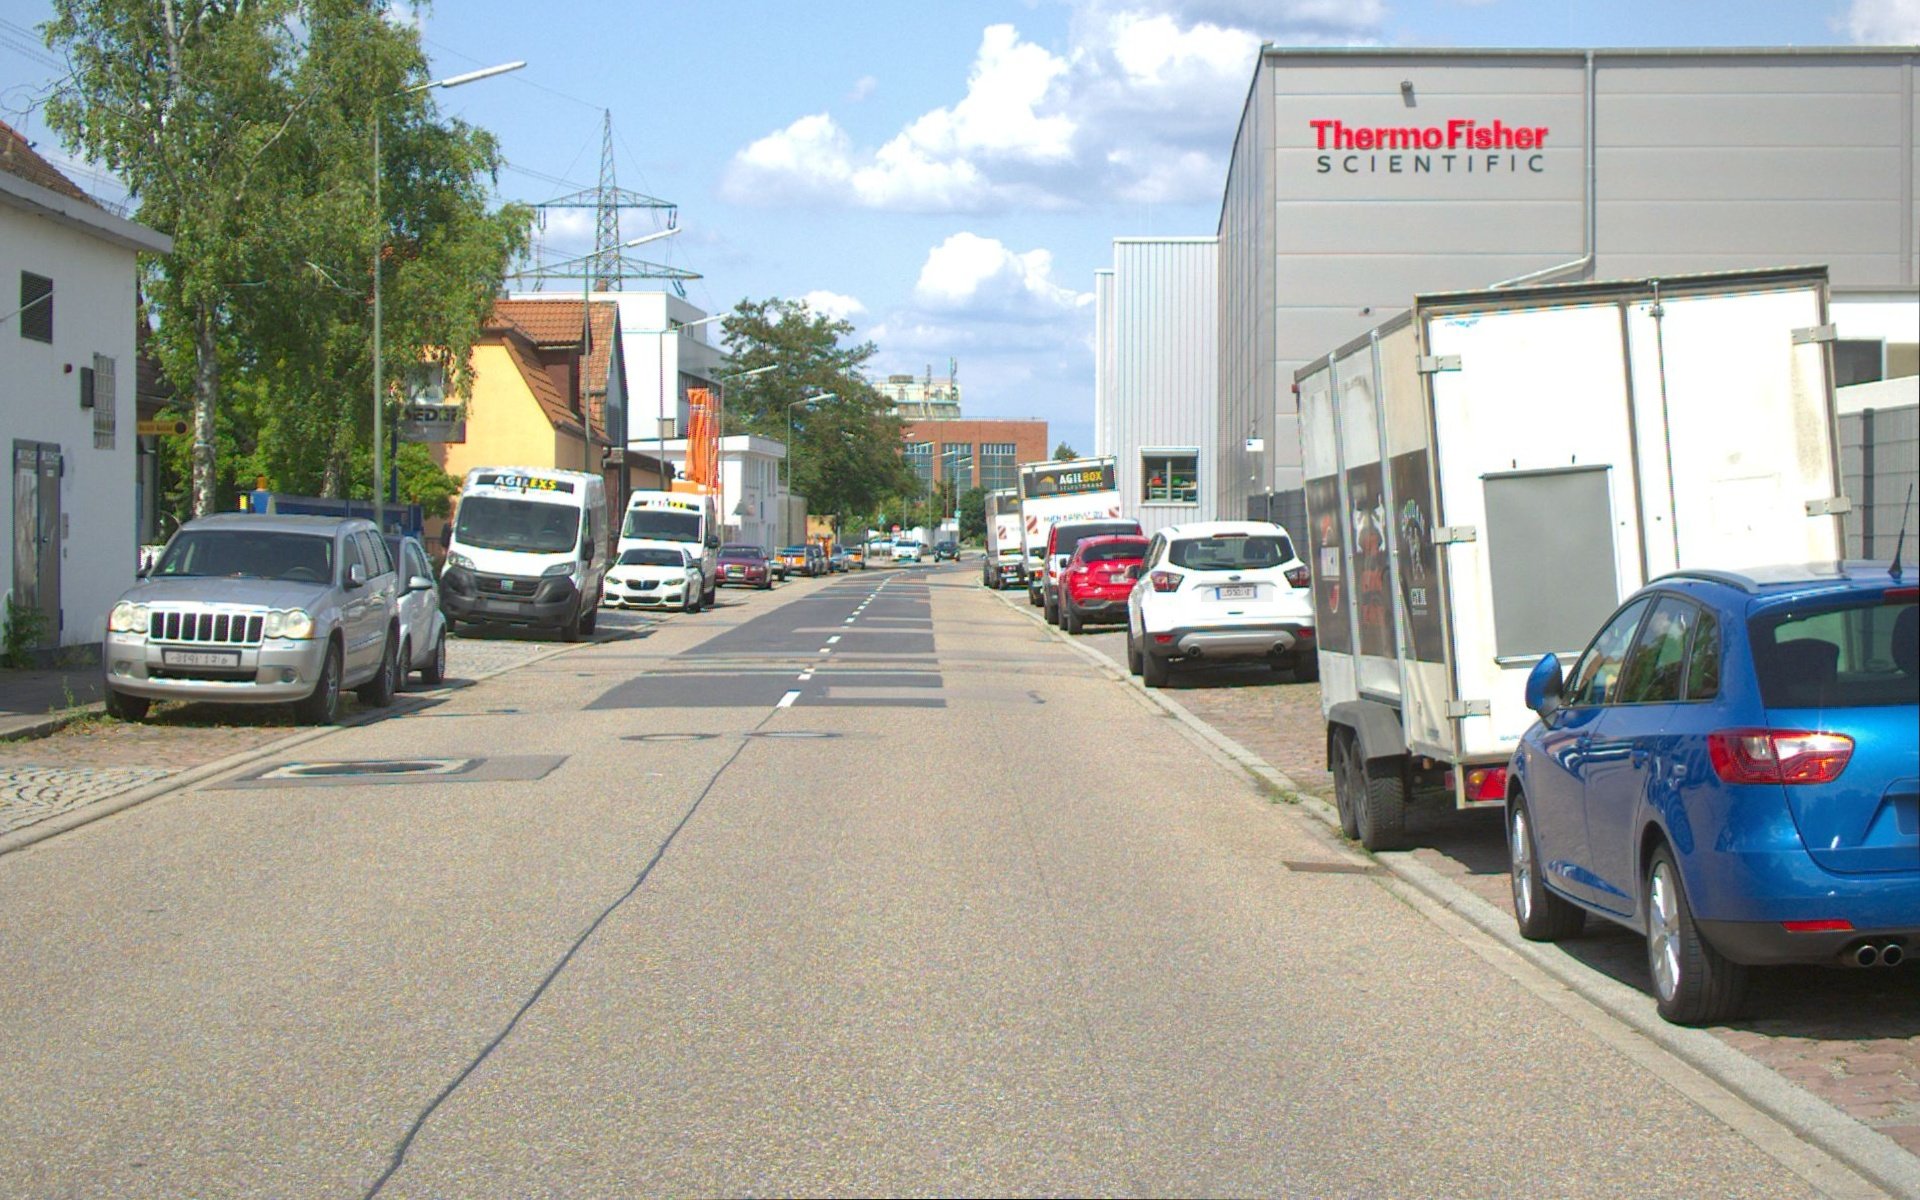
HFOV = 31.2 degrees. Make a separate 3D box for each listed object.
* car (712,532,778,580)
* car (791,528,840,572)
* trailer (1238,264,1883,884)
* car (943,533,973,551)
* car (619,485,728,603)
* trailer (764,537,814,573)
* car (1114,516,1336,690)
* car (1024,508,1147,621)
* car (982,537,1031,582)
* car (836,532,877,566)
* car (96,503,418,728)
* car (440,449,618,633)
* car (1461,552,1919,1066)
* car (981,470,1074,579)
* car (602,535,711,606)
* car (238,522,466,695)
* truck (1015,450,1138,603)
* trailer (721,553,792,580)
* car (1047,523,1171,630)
[{"bbox_3d":[-6.925,-1.424,111.060,1.762,1.442,4.741,2,0,0],"label":"car"},{"bbox_3d":[-6.992,-2.417,166.508,1.994,2.007,4.000,2,0,2],"label":"car"},{"bbox_3d":[2.986,-0.148,18.746,2.204,2.727,6.222,-3,1,-1],"label":"trailer"},{"bbox_3d":[-0.137,-4.022,239.230,1.918,1.280,3.614,0,1,2],"label":"car"},{"bbox_3d":[-6.579,-1.276,79.561,2.026,2.552,6.840,2,0,-1],"label":"car"},{"bbox_3d":[-7.478,-1.989,150.845,1.993,1.551,4.254,1,1,0],"label":"trailer"},{"bbox_3d":[2.793,-0.020,37.179,1.935,1.688,4.680,-2,1,-1],"label":"car"},{"bbox_3d":[2.288,-0.683,63.763,2.054,1.897,5.147,-3,1,1],"label":"car"},{"bbox_3d":[1.684,-1.466,124.892,1.768,1.607,3.873,0,0,1],"label":"car"},{"bbox_3d":[-5.713,-2.786,189.979,1.922,1.788,4.000,2,0,2],"label":"car"},{"bbox_3d":[-5.987,0.090,29.835,1.791,1.713,4.752,3,1,-1],"label":"car"},{"bbox_3d":[-6.501,-0.878,52.544,2.030,2.549,6.658,3,0,-2],"label":"car"},{"bbox_3d":[2.975,0.583,12.061,1.690,1.456,4.071,-2,1,-2],"label":"car"},{"bbox_3d":[2.154,-2.436,112.379,2.388,3.351,6.646,-2,1,-3],"label":"car"},{"bbox_3d":[-6.342,-0.625,72.300,1.796,1.392,4.502,2,0,1],"label":"car"},{"bbox_3d":[-6.104,0.048,34.799,1.609,1.568,3.009,4,1,1],"label":"car"},{"bbox_3d":[2.687,-1.701,81.262,2.458,3.282,6.818,-4,1,0],"label":"truck"},{"bbox_3d":[-7.648,-1.265,129.927,2.362,0.890,5.569,2,1,0],"label":"trailer"},{"bbox_3d":[2.428,-0.395,56.879,1.704,1.619,4.093,-3,1,-1],"label":"car"}]
